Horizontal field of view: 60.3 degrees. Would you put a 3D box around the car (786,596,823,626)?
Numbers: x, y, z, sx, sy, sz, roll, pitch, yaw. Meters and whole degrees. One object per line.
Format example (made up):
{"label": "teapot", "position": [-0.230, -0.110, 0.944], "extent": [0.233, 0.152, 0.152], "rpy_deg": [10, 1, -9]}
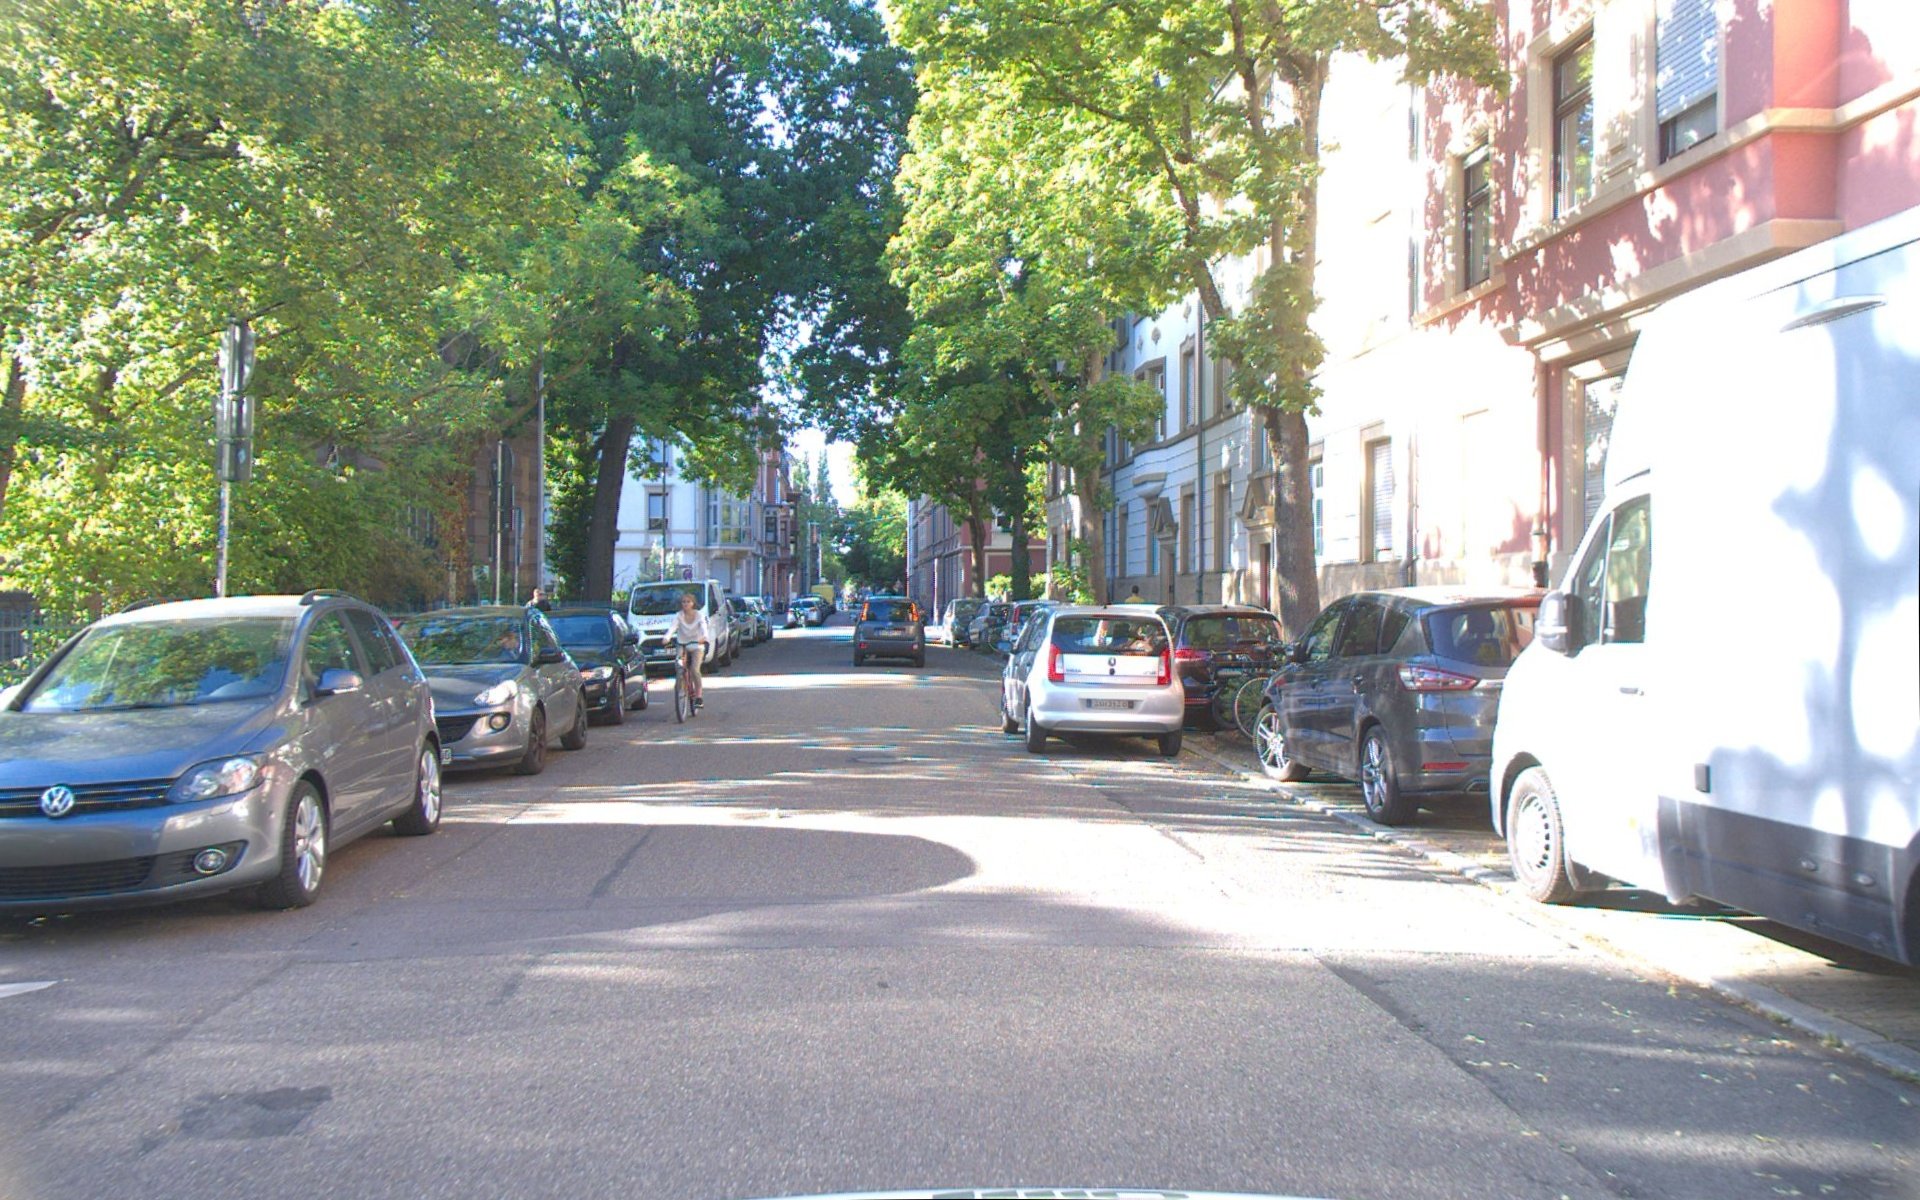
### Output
{"label": "car", "position": [-8.322, 0.554, 88.762], "extent": [1.761, 1.456, 3.923], "rpy_deg": [-3, 1, -3]}

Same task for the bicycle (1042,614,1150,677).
{"label": "bicycle", "position": [2.565, 0.857, 31.282], "extent": [1.930, 1.091, 0.599], "rpy_deg": [-2, 0, -3]}

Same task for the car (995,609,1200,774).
{"label": "car", "position": [1.402, 0.918, 18.208], "extent": [1.646, 1.571, 3.796], "rpy_deg": [1, 0, -5]}

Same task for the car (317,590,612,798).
{"label": "car", "position": [-4.486, 0.755, 15.611], "extent": [1.643, 1.600, 4.149], "rpy_deg": [-3, 1, -3]}

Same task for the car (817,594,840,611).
{"label": "car", "position": [-12.431, 0.204, 156.472], "extent": [1.923, 1.504, 3.923], "rpy_deg": [-3, 1, -3]}

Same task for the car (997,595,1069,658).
{"label": "car", "position": [1.847, 0.645, 42.663], "extent": [1.490, 1.537, 3.541], "rpy_deg": [0, 0, -3]}

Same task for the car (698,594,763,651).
{"label": "car", "position": [-7.189, 0.679, 52.088], "extent": [1.790, 1.581, 4.128], "rpy_deg": [-4, 0, -6]}

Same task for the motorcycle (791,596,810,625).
{"label": "motorcycle", "position": [-8.247, 0.545, 85.464], "extent": [0.684, 1.486, 1.745], "rpy_deg": [-1, 0, -13]}

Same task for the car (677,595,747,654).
{"label": "car", "position": [-6.975, 0.657, 46.738], "extent": [1.570, 1.485, 4.024], "rpy_deg": [-3, 1, -4]}

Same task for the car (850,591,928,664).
{"label": "car", "position": [-1.642, 0.585, 37.532], "extent": [1.601, 1.577, 3.261], "rpy_deg": [0, 0, -5]}

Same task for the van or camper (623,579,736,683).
{"label": "van or camper", "position": [-6.073, 0.626, 36.364], "extent": [1.884, 2.014, 5.456], "rpy_deg": [-3, 0, -5]}

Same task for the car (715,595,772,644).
{"label": "car", "position": [-7.496, 0.635, 56.961], "extent": [1.714, 1.500, 4.454], "rpy_deg": [-4, 1, -9]}

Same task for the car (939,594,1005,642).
{"label": "car", "position": [0.377, 0.600, 56.309], "extent": [1.754, 1.578, 4.403], "rpy_deg": [0, 0, -6]}

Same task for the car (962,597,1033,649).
{"label": "car", "position": [1.118, 0.683, 50.729], "extent": [1.580, 1.504, 3.863], "rpy_deg": [0, 0, -8]}

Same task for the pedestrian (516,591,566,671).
{"label": "pedestrian", "position": [-8.463, 0.622, 33.434], "extent": [0.863, 1.605, 0.529], "rpy_deg": [0, 0, -3]}

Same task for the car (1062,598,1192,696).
{"label": "car", "position": [2.746, 0.732, 27.867], "extent": [1.565, 1.514, 3.745], "rpy_deg": [-1, 0, -4]}

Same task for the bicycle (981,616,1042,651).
{"label": "bicycle", "position": [1.477, 0.949, 47.390], "extent": [1.681, 0.966, 0.733], "rpy_deg": [-1, 0, -4]}

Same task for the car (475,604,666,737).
{"label": "car", "position": [-5.017, 0.828, 21.883], "extent": [1.680, 1.419, 4.775], "rpy_deg": [-4, 0, -5]}

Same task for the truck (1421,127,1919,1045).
{"label": "truck", "position": [4.060, -0.074, 6.887], "extent": [2.033, 3.020, 6.103], "rpy_deg": [-3, 0, -5]}

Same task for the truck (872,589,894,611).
{"label": "truck", "position": [-7.215, -0.034, 155.273], "extent": [1.954, 2.027, 3.997], "rpy_deg": [0, 0, -4]}

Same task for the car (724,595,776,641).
{"label": "car", "position": [-7.841, 0.653, 62.047], "extent": [1.663, 1.577, 3.916], "rpy_deg": [-3, 1, -4]}

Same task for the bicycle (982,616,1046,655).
{"label": "bicycle", "position": [1.492, 0.978, 46.167], "extent": [1.734, 1.057, 0.605], "rpy_deg": [1, 0, -4]}

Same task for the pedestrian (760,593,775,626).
{"label": "pedestrian", "position": [-11.074, 0.547, 95.341], "extent": [0.707, 1.871, 0.627], "rpy_deg": [1, 0, 7]}

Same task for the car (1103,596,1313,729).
{"label": "car", "position": [3.113, 0.729, 21.660], "extent": [1.751, 1.540, 4.455], "rpy_deg": [1, 0, -5]}

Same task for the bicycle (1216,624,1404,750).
{"label": "bicycle", "position": [3.618, 0.889, 17.145], "extent": [1.775, 1.187, 0.569], "rpy_deg": [-2, 0, -5]}

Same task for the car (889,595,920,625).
{"label": "car", "position": [-3.093, 0.534, 91.167], "extent": [1.630, 1.531, 3.755], "rpy_deg": [1, 0, -3]}

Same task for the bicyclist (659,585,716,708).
{"label": "bicyclist", "position": [-3.434, 0.575, 20.881], "extent": [0.638, 1.535, 0.624], "rpy_deg": [0, 0, -2]}

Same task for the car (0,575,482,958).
{"label": "car", "position": [-4.127, 0.724, 9.421], "extent": [1.745, 1.618, 4.465], "rpy_deg": [-2, 0, -4]}

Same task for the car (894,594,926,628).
{"label": "car", "position": [-2.644, 0.538, 86.697], "extent": [1.630, 1.698, 3.755], "rpy_deg": [1, 0, -3]}

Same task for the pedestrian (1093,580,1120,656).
{"label": "pedestrian", "position": [3.413, 0.419, 38.630], "extent": [0.509, 1.765, 0.877], "rpy_deg": [0, 0, -2]}

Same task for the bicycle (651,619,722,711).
{"label": "bicycle", "position": [-3.442, 0.799, 20.924], "extent": [0.651, 1.096, 1.685], "rpy_deg": [0, 0, -2]}

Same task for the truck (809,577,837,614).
{"label": "truck", "position": [-11.653, -0.408, 141.235], "extent": [2.029, 2.976, 5.065], "rpy_deg": [-4, 0, -3]}

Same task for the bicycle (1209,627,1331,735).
{"label": "bicycle", "position": [3.483, 0.900, 18.591], "extent": [1.281, 1.160, 0.327], "rpy_deg": [-1, 0, -4]}

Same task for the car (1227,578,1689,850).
{"label": "car", "position": [3.667, 0.726, 13.282], "extent": [1.849, 1.746, 4.939], "rpy_deg": [0, 0, -5]}

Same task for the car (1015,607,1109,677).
{"label": "car", "position": [2.207, 0.895, 36.743], "extent": [1.590, 1.418, 4.154], "rpy_deg": [-1, 0, -3]}

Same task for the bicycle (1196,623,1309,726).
{"label": "bicycle", "position": [3.218, 0.816, 18.224], "extent": [1.177, 1.094, 0.298], "rpy_deg": [-1, 0, -5]}

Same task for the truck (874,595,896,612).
{"label": "truck", "position": [-6.827, 0.318, 149.910], "extent": [1.954, 1.482, 3.997], "rpy_deg": [0, 0, -4]}

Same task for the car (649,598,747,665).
{"label": "car", "position": [-6.563, 0.750, 41.856], "extent": [1.961, 1.483, 4.602], "rpy_deg": [-2, 0, -4]}

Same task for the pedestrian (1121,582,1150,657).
{"label": "pedestrian", "position": [4.082, 0.439, 38.511], "extent": [0.583, 1.731, 0.688], "rpy_deg": [0, 0, -2]}
